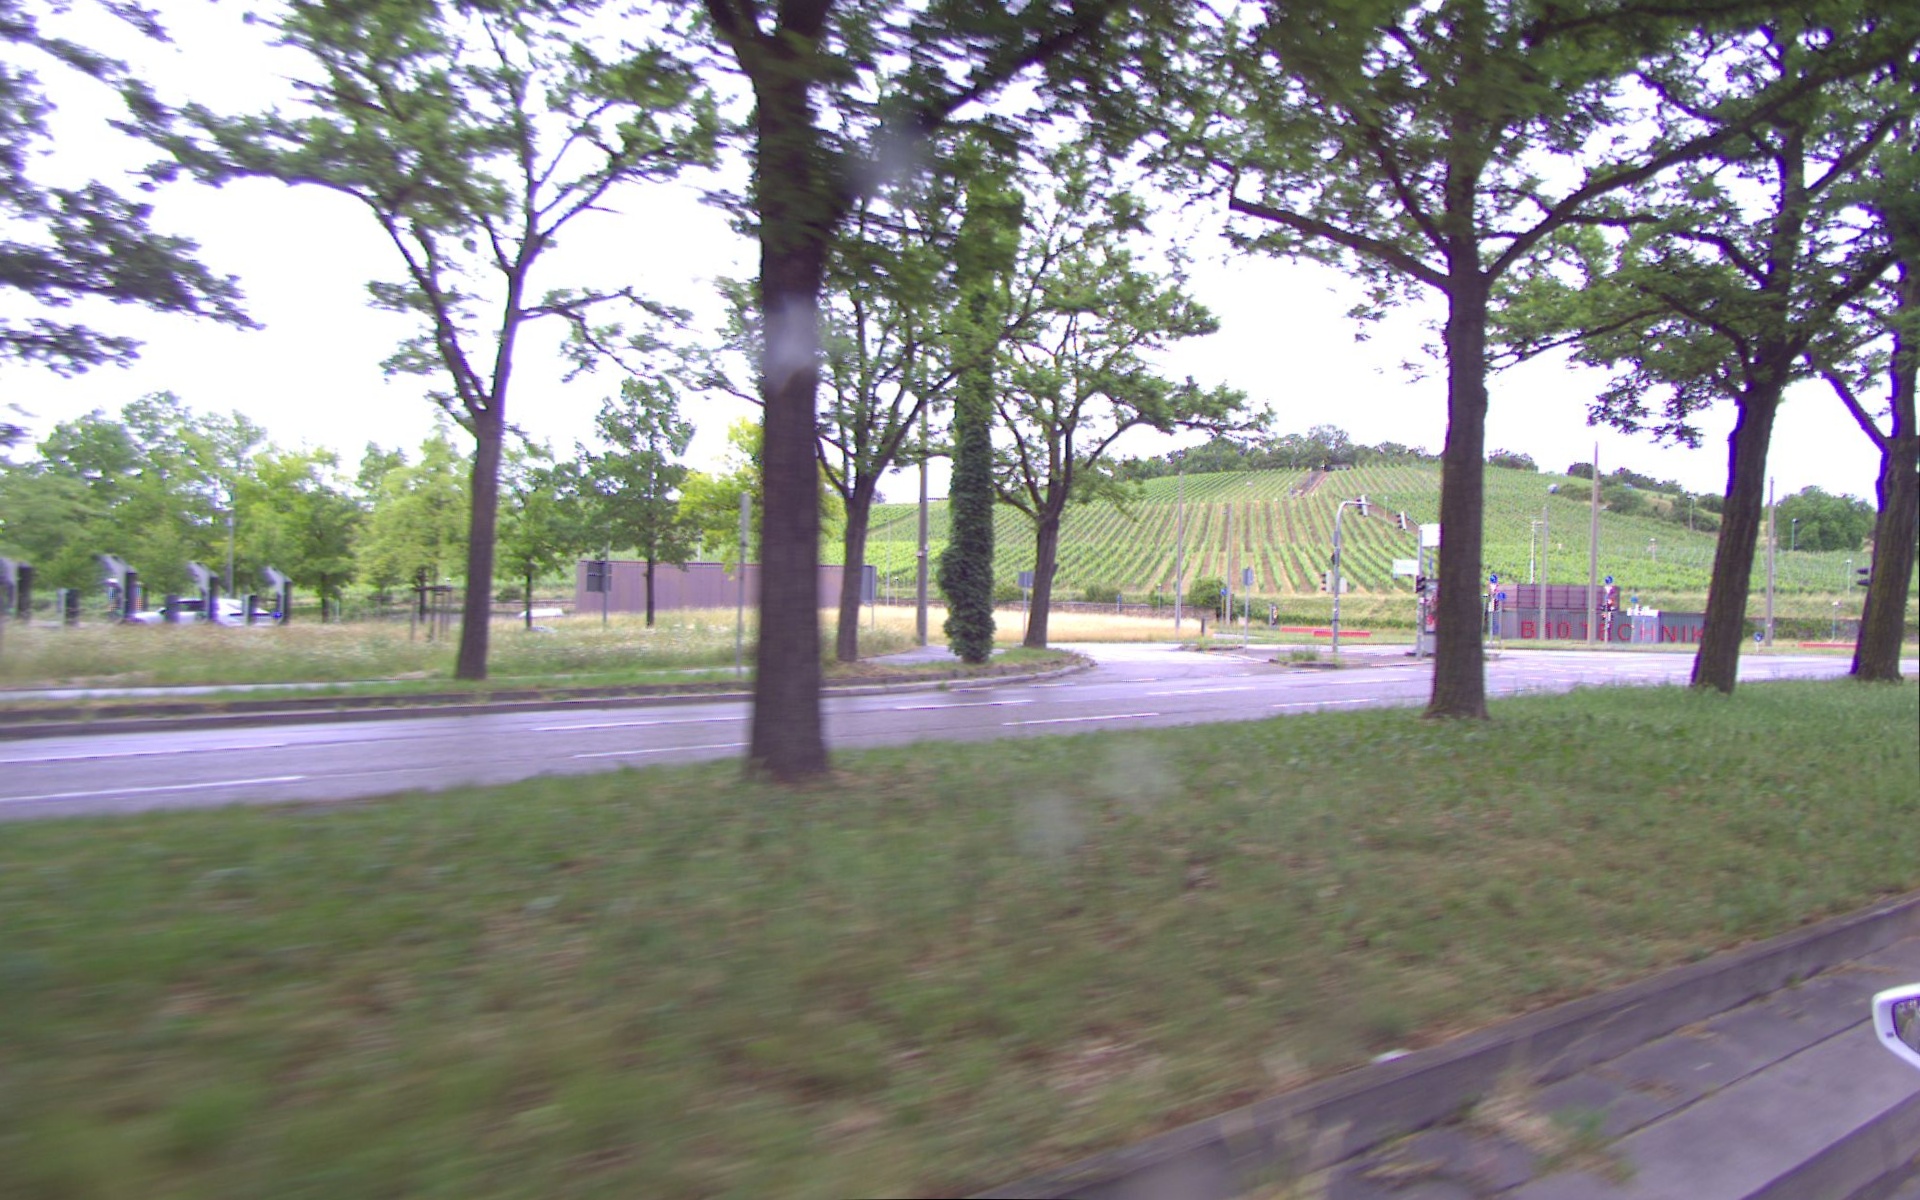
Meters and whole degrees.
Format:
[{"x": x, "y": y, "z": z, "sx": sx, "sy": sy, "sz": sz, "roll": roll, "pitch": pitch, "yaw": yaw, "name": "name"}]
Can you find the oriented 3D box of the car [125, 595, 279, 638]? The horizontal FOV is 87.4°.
[{"x": -26.364, "y": 0.573, "z": 35.043, "sx": 3.928, "sy": 1.261, "sz": 1.617, "roll": 2, "pitch": 1, "yaw": -10, "name": "car"}]
